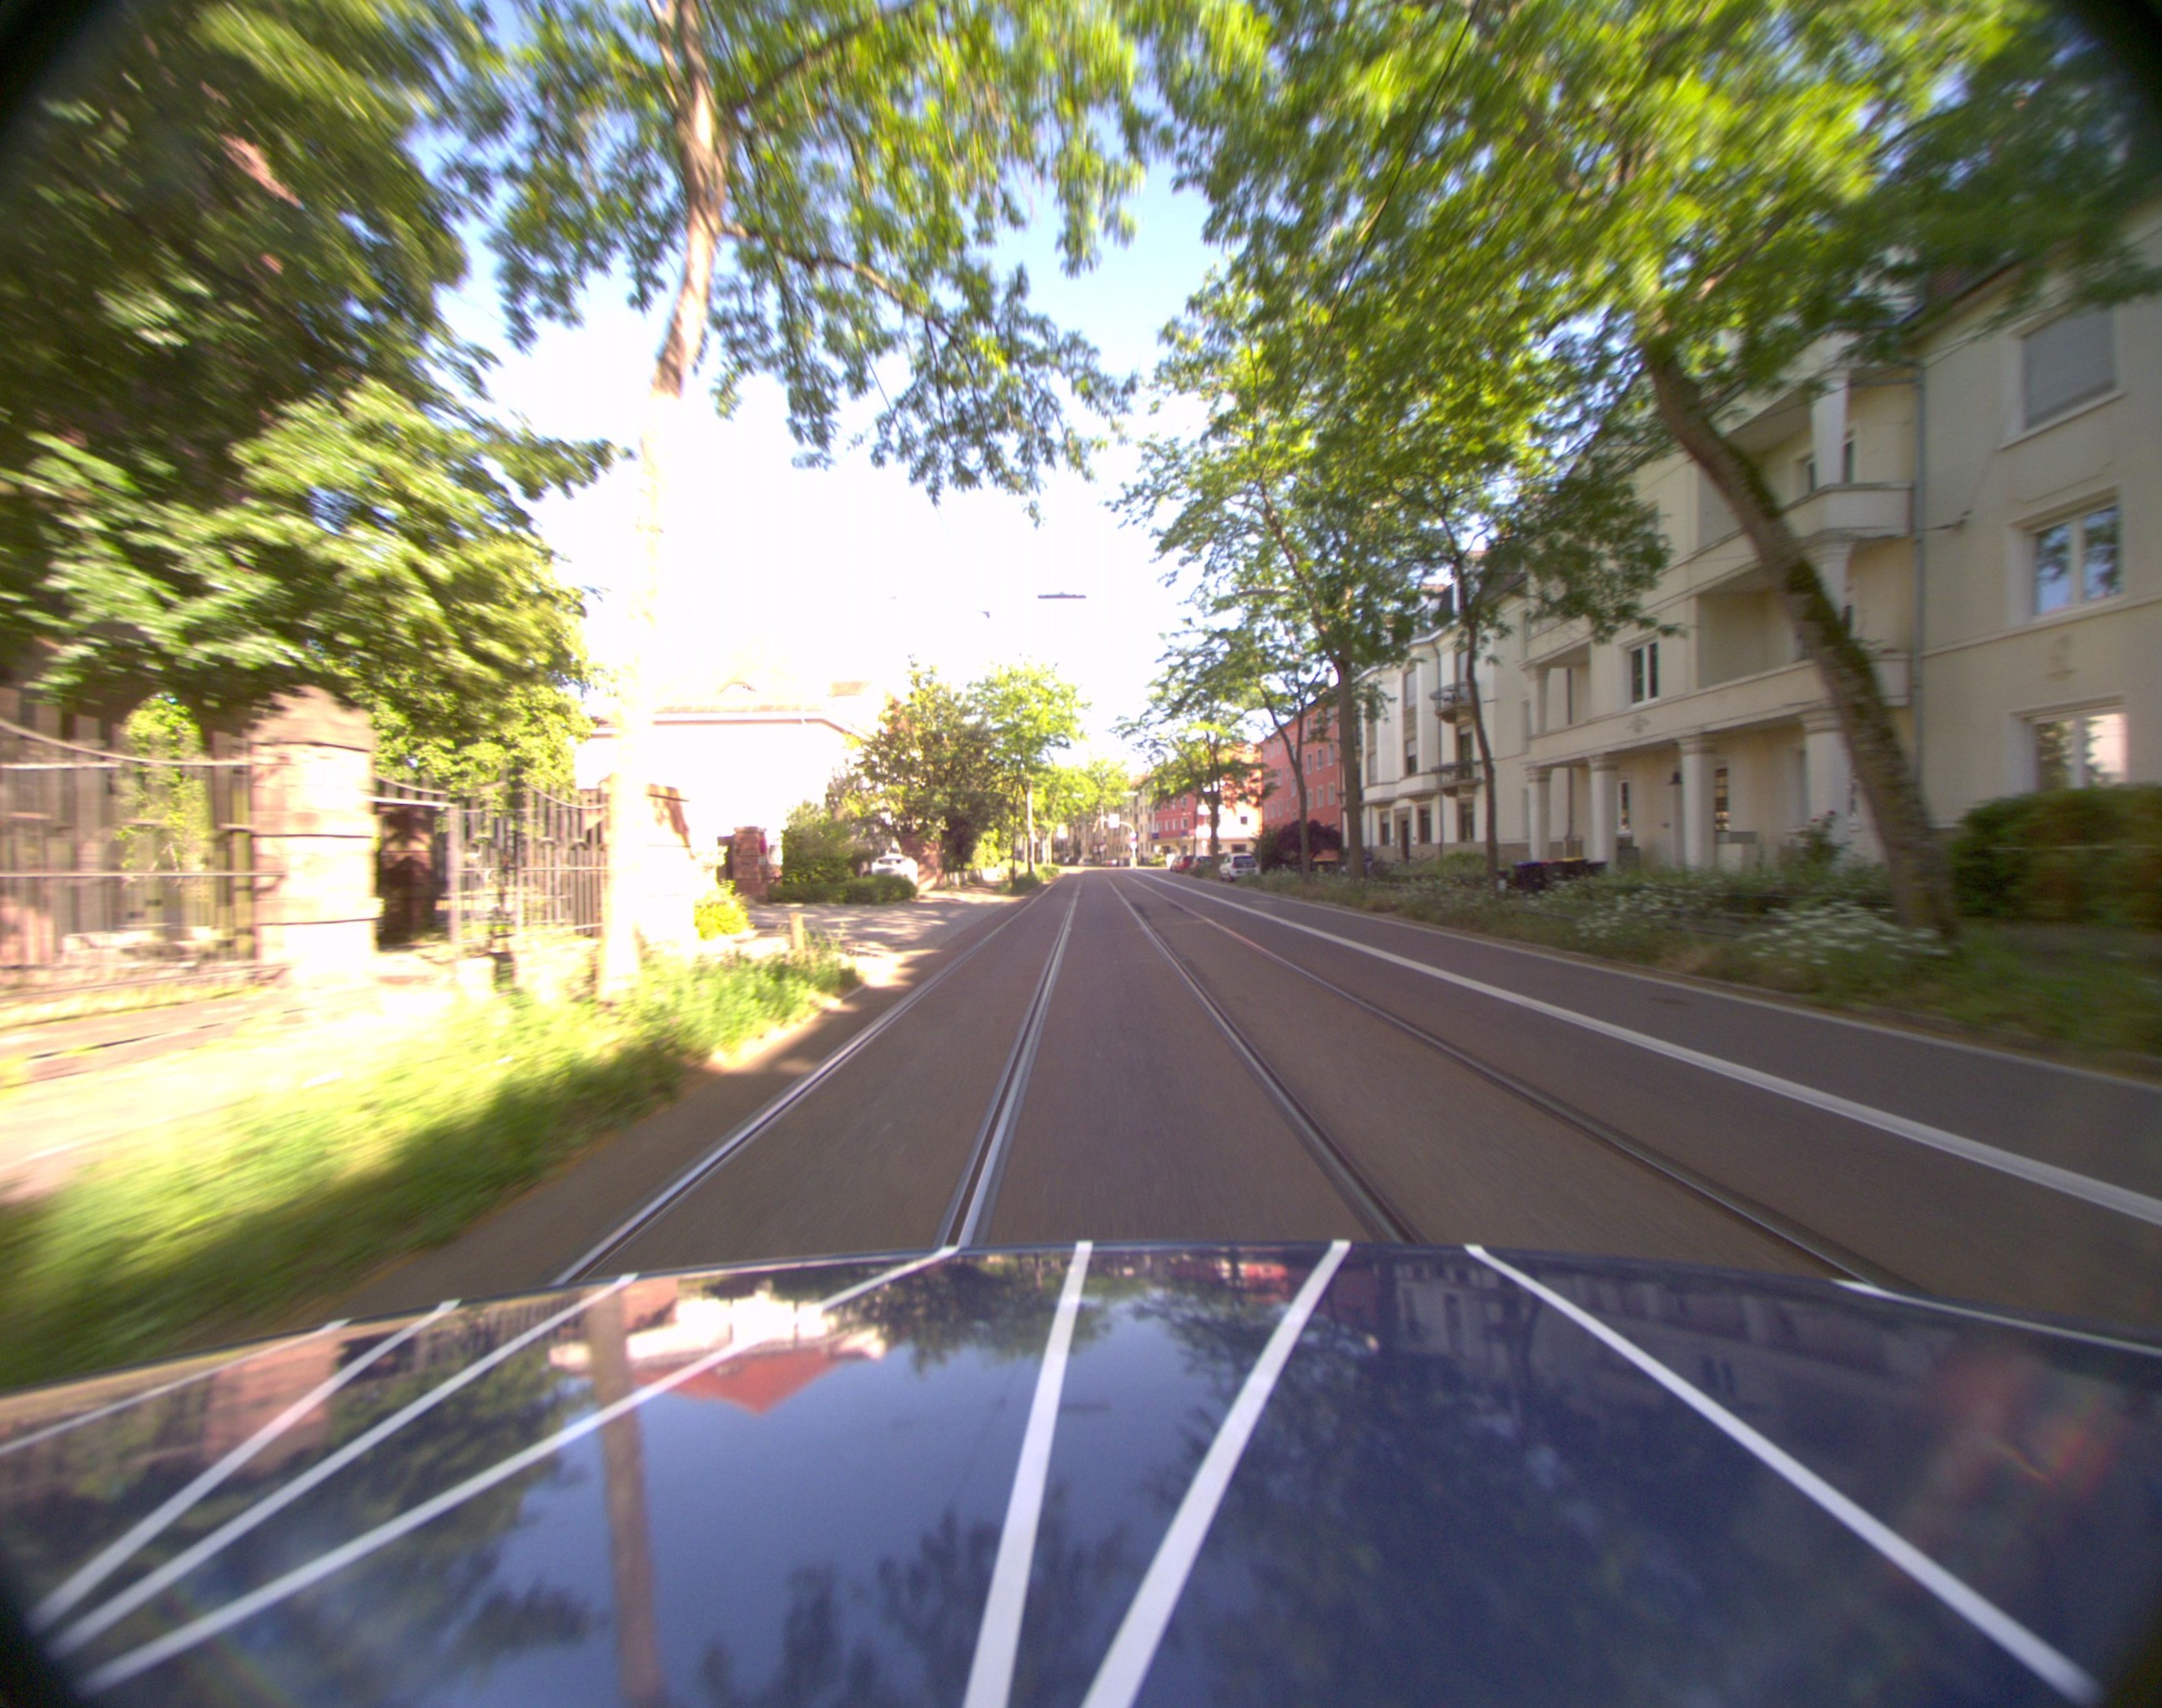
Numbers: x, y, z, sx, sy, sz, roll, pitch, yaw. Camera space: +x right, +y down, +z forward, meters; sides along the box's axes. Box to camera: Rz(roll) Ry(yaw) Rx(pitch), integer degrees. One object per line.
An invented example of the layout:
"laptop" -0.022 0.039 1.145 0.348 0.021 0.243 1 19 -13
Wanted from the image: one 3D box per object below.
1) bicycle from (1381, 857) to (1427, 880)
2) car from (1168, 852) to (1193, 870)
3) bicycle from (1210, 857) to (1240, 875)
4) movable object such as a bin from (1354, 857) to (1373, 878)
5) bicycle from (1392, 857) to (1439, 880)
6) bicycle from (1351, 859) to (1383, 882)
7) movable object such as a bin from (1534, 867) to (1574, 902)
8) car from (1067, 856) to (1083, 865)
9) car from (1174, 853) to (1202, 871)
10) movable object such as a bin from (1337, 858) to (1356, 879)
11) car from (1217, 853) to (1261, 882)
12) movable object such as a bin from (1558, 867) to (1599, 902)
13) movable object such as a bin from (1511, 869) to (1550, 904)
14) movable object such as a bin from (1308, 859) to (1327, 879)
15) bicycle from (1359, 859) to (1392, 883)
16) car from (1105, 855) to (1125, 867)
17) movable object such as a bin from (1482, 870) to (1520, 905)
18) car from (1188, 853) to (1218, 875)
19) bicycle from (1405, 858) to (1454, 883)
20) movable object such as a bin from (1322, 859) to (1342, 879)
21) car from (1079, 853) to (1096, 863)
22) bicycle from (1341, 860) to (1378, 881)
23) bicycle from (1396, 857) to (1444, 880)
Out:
"bicycle" 15.261 0.695 35.944 1.857 0.990 0.559 -3 -1 42
"car" 8.977 0.585 68.621 1.577 1.496 4.096 -2 0 -1
"bicycle" 9.559 0.782 50.464 1.816 1.114 0.543 -1 1 1
"movable object such as a bin" 15.135 0.723 40.718 0.739 1.107 0.895 -1 1 1
"bicycle" 15.354 0.682 34.881 1.857 0.990 0.559 -3 -1 42
"bicycle" 12.941 0.744 34.318 1.866 0.991 0.557 -1 1 -43
"movable object such as a bin" 13.142 0.843 21.115 0.629 0.916 0.740 -2 1 1
"car" -0.962 1.075 124.611 1.880 1.390 3.996 -4 0 -10
"car" 8.877 0.637 63.406 1.577 1.446 4.095 -2 0 -2
"movable object such as a bin" 14.212 0.767 40.711 0.739 1.078 0.895 -1 1 1
"car" 8.826 0.741 42.808 1.629 1.526 3.689 -2 0 -1
"movable object such as a bin" 13.810 0.829 21.115 0.629 0.916 0.740 -2 1 1
"movable object such as a bin" 12.499 0.896 21.153 0.629 0.916 0.740 -2 1 1
"movable object such as a bin" 12.689 0.816 40.736 0.739 1.035 0.895 -1 0 1
"bicycle" 12.872 0.712 33.209 1.866 0.991 0.557 -1 1 -43
"car" 4.669 0.958 104.748 1.880 1.390 3.996 -4 0 -10
"movable object such as a bin" 11.801 0.928 21.358 0.629 0.916 0.740 -2 1 1
"car" 8.759 0.689 54.660 1.558 1.446 3.668 -2 0 1
"bicycle" 15.167 0.717 33.084 1.857 0.990 0.559 -3 -1 35
"movable object such as a bin" 13.445 0.792 40.716 0.739 1.048 0.895 -1 0 1
"car" 0.984 0.624 117.678 1.880 1.390 3.996 -4 0 -10
"bicycle" 13.409 0.784 36.557 1.865 0.991 0.557 -1 1 -28
"bicycle" 15.172 0.654 34.031 1.857 0.990 0.559 -3 -1 42
